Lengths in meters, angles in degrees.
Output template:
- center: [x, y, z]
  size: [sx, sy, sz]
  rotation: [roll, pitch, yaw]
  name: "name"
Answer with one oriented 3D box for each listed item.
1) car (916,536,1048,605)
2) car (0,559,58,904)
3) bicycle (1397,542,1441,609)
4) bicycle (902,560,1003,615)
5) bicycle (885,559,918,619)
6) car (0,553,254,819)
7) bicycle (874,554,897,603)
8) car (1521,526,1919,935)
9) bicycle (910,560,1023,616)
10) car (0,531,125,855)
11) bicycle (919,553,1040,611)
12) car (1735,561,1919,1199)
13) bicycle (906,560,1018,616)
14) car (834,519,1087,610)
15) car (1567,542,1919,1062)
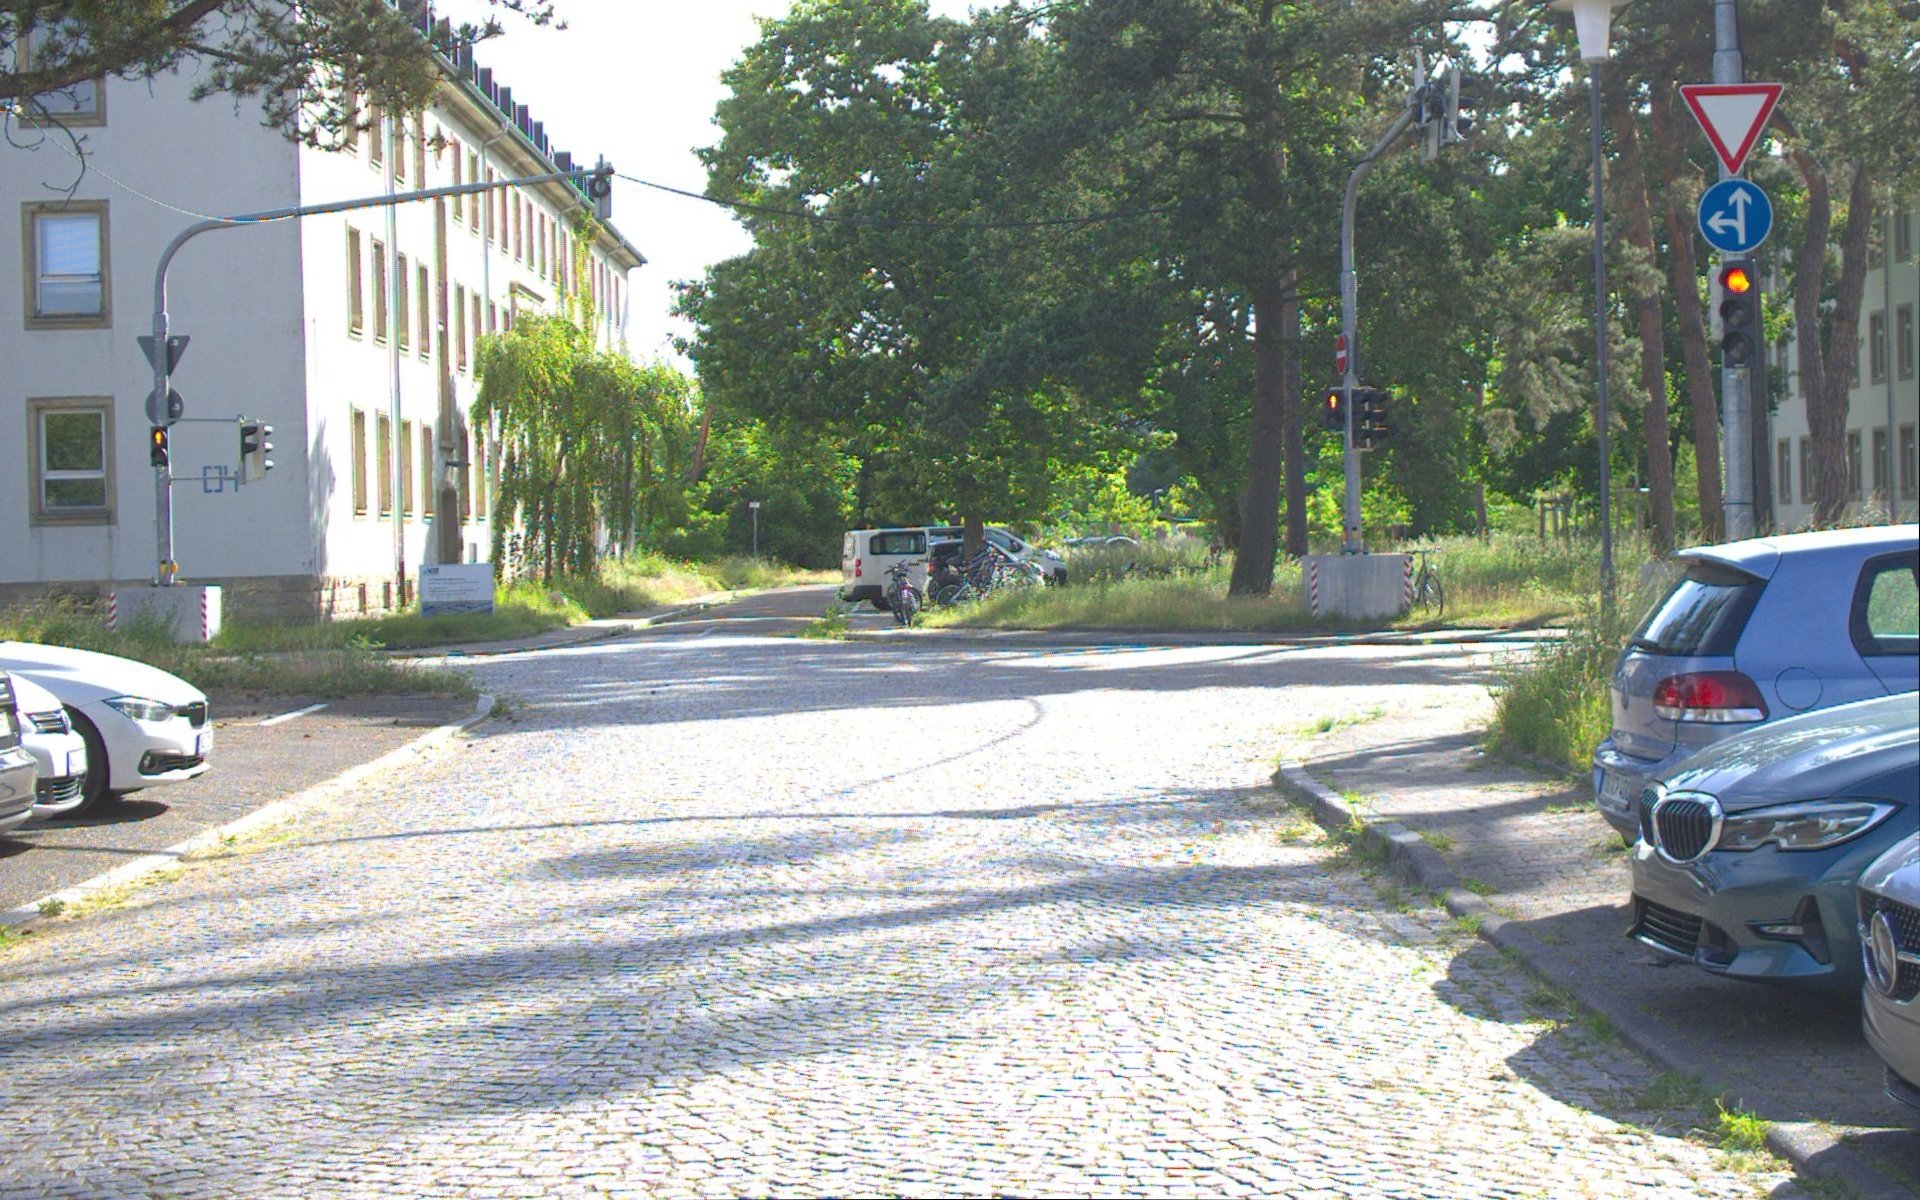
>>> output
- center: [0.487, -0.661, 76.665]
  size: [2.781, 1.462, 1.671]
  rotation: [1, 0, -5]
  name: "car"
- center: [-6.152, 0.539, 15.007]
  size: [3.986, 1.475, 1.803]
  rotation: [1, 1, -3]
  name: "car"
- center: [6.680, -0.357, 50.091]
  size: [0.300, 0.957, 1.586]
  rotation: [1, 0, -4]
  name: "bicycle"
- center: [-0.151, -0.240, 65.662]
  size: [1.837, 1.007, 0.636]
  rotation: [1, 0, -8]
  name: "bicycle"
- center: [-1.001, -0.197, 58.575]
  size: [0.467, 1.007, 1.586]
  rotation: [1, 0, -4]
  name: "bicycle"
- center: [-6.514, 0.454, 20.341]
  size: [4.333, 1.463, 1.831]
  rotation: [1, 1, -3]
  name: "car"
- center: [-1.561, -0.442, 71.869]
  size: [0.417, 1.007, 1.483]
  rotation: [1, 0, 0]
  name: "bicycle"
- center: [4.272, 0.410, 13.324]
  size: [3.882, 1.410, 1.637]
  rotation: [-3, 1, 0]
  name: "car"
- center: [0.119, -0.222, 63.906]
  size: [2.004, 1.007, 0.632]
  rotation: [1, 0, -8]
  name: "bicycle"
- center: [-6.613, 0.416, 17.966]
  size: [4.080, 1.588, 1.886]
  rotation: [1, 1, -3]
  name: "car"
- center: [0.354, -0.320, 62.199]
  size: [2.109, 1.007, 0.621]
  rotation: [1, 0, -8]
  name: "bicycle"
- center: [4.205, 0.553, 7.829]
  size: [4.432, 1.410, 1.781]
  rotation: [-3, 1, 0]
  name: "car"
- center: [0.035, -0.230, 64.789]
  size: [2.027, 1.007, 0.627]
  rotation: [1, 0, -8]
  name: "bicycle"
- center: [0.012, -0.823, 80.210]
  size: [5.520, 2.007, 2.001]
  rotation: [1, 0, -18]
  name: "car"
- center: [4.310, 0.485, 10.543]
  size: [4.559, 1.410, 1.637]
  rotation: [-3, 1, 0]
  name: "car"
